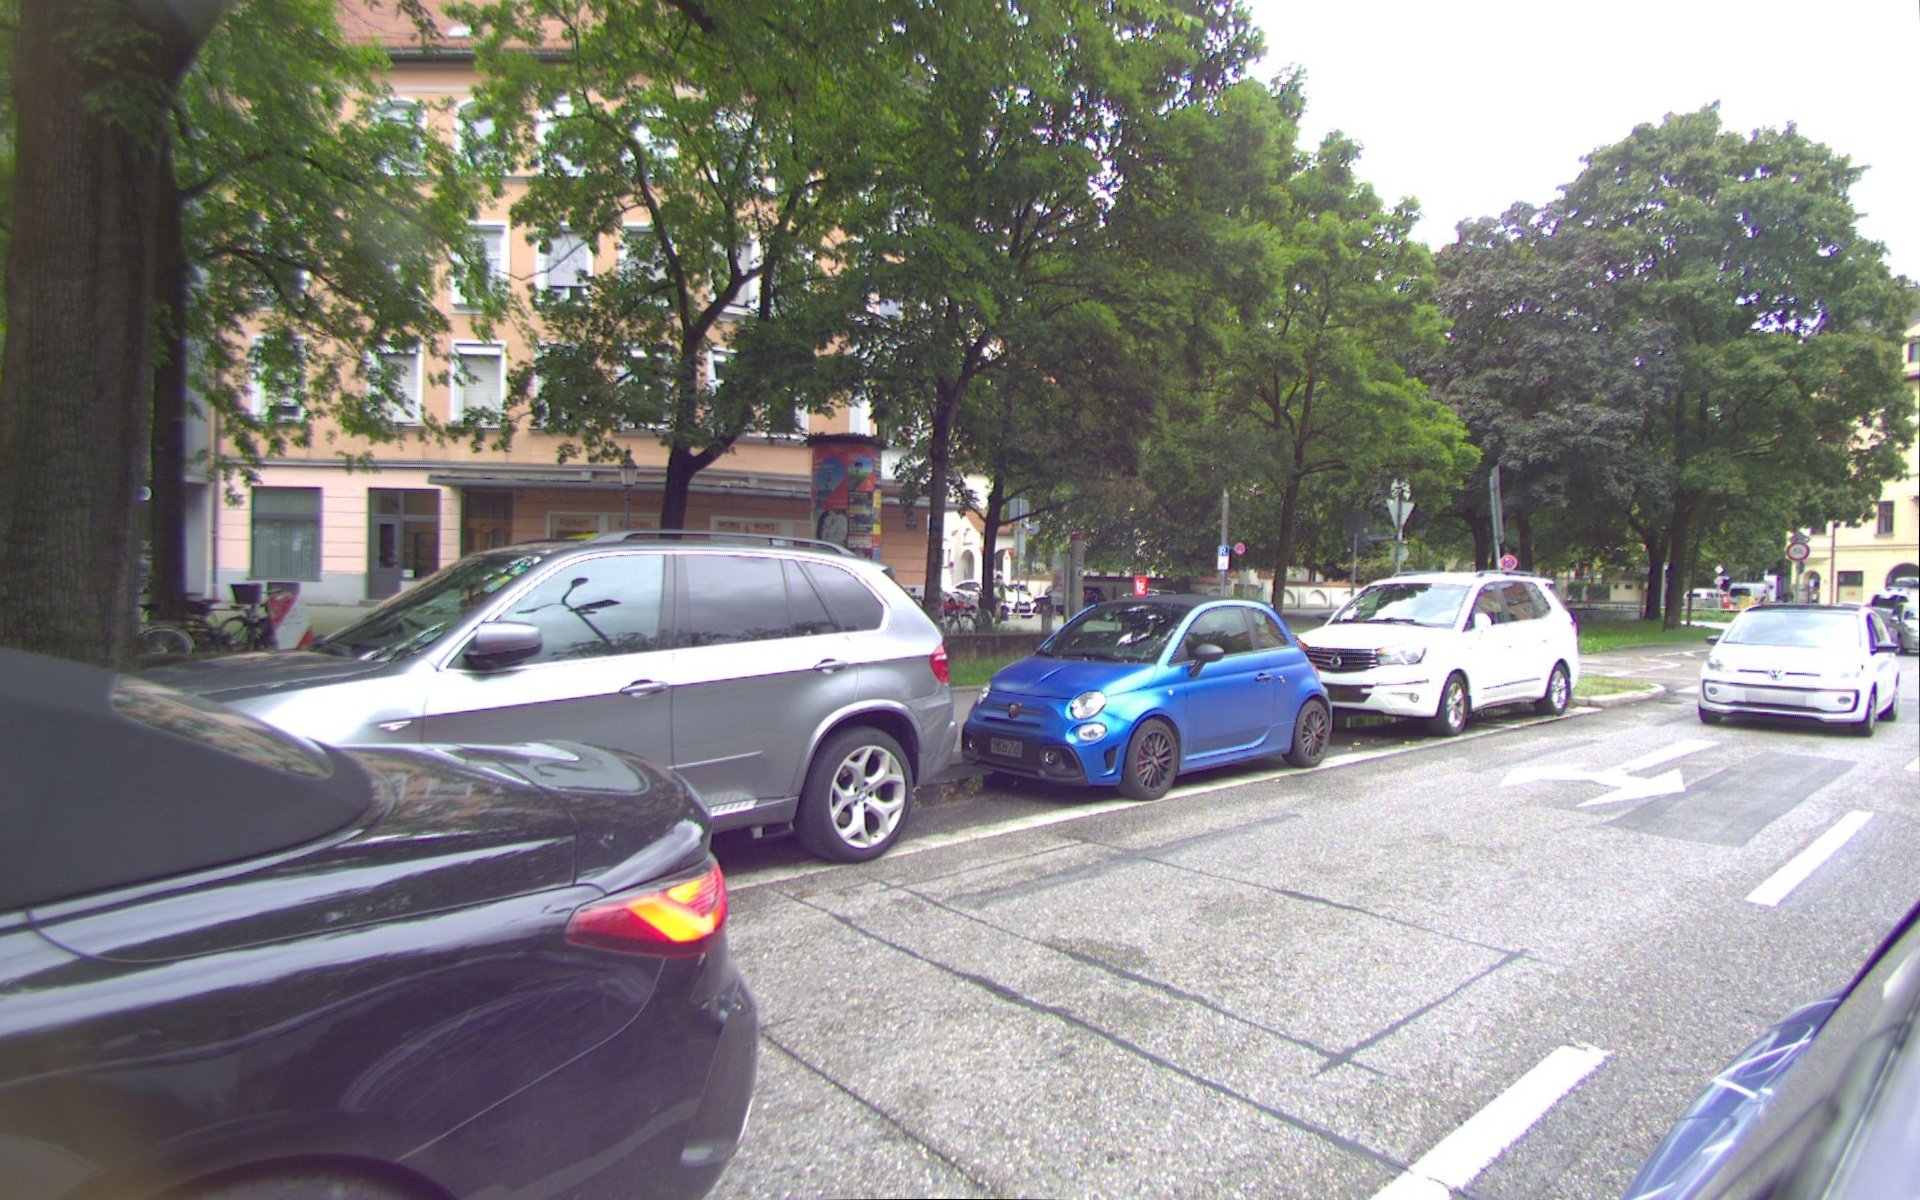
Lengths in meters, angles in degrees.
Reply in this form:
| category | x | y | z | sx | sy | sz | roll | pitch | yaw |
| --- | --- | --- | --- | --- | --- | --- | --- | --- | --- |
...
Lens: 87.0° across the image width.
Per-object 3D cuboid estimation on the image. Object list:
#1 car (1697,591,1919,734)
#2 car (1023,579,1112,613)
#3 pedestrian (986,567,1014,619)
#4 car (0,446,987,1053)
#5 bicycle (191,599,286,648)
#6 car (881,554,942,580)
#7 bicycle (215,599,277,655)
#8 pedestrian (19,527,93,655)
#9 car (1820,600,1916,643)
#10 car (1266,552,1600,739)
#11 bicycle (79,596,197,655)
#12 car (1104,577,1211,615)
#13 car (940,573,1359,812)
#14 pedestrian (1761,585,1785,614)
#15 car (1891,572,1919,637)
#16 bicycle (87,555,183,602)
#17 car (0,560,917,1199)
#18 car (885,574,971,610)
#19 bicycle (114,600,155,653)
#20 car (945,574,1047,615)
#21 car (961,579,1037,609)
| category | x | y | z | sx | sy | sz | roll | pitch | yaw |
| --- | --- | --- | --- | --- | --- | --- | --- | --- | --- |
| car | 10.655 | 0.664 | 12.600 | 3.557 | 1.484 | 1.647 | 0 | 2 | -42 |
| car | 4.907 | -0.199 | 46.760 | 1.824 | 1.485 | 4.446 | 0 | 1 | -31 |
| pedestrian | 1.230 | -0.203 | 31.010 | 0.632 | 1.571 | 0.603 | 0 | 0 | -35 |
| car | -2.105 | 0.427 | 5.244 | 1.933 | 1.842 | 4.480 | 2 | 2 | 45 |
| bicycle | -11.130 | 0.356 | 15.638 | 1.154 | 0.732 | 0.320 | 0 | 0 | -19 |
| car | -2.979 | -1.981 | 61.319 | 1.824 | 1.485 | 4.447 | 0 | 1 | -31 |
| bicycle | -9.942 | 0.365 | 14.113 | 0.312 | 0.732 | 1.181 | 0 | 0 | -15 |
| pedestrian | -13.951 | -0.142 | 15.628 | 0.617 | 1.926 | 0.630 | 0 | 0 | -13 |
| car | 46.490 | 1.066 | 51.902 | 1.629 | 2.009 | 3.996 | 2 | 1 | 8 |
| car | 5.984 | 0.434 | 12.488 | 4.935 | 1.879 | 1.847 | 0 | 1 | -41 |
| bicycle | -10.786 | 0.322 | 13.310 | 1.155 | 0.732 | 0.319 | -1 | 0 | -30 |
| car | 8.090 | -0.167 | 41.816 | 1.824 | 1.485 | 4.446 | 0 | 1 | -31 |
| car | 1.710 | 0.607 | 8.492 | 3.597 | 1.568 | 1.523 | 0 | 1 | -41 |
| pedestrian | 57.782 | -0.065 | 71.949 | 0.860 | 2.039 | 1.009 | 0 | 0 | -9 |
| car | 36.175 | 0.176 | 36.968 | 1.896 | 2.380 | 4.898 | 2 | 1 | 27 |
| bicycle | -23.267 | -0.609 | 28.559 | 2.204 | 1.306 | 0.507 | 0 | 0 | -4 |
| car | -2.440 | 0.633 | 1.224 | 4.714 | 1.407 | 1.727 | 0 | 2 | -41 |
| car | -1.434 | -0.364 | 43.930 | 1.824 | 1.485 | 4.447 | 0 | 1 | -31 |
| bicycle | -11.990 | 0.370 | 14.715 | 0.313 | 0.732 | 1.179 | 0 | 0 | -32 |
| car | 1.326 | -0.226 | 39.250 | 1.824 | 1.485 | 4.446 | 0 | 1 | -31 |
| car | 1.973 | -0.327 | 52.432 | 1.824 | 1.485 | 4.446 | 0 | 1 | -31 |
